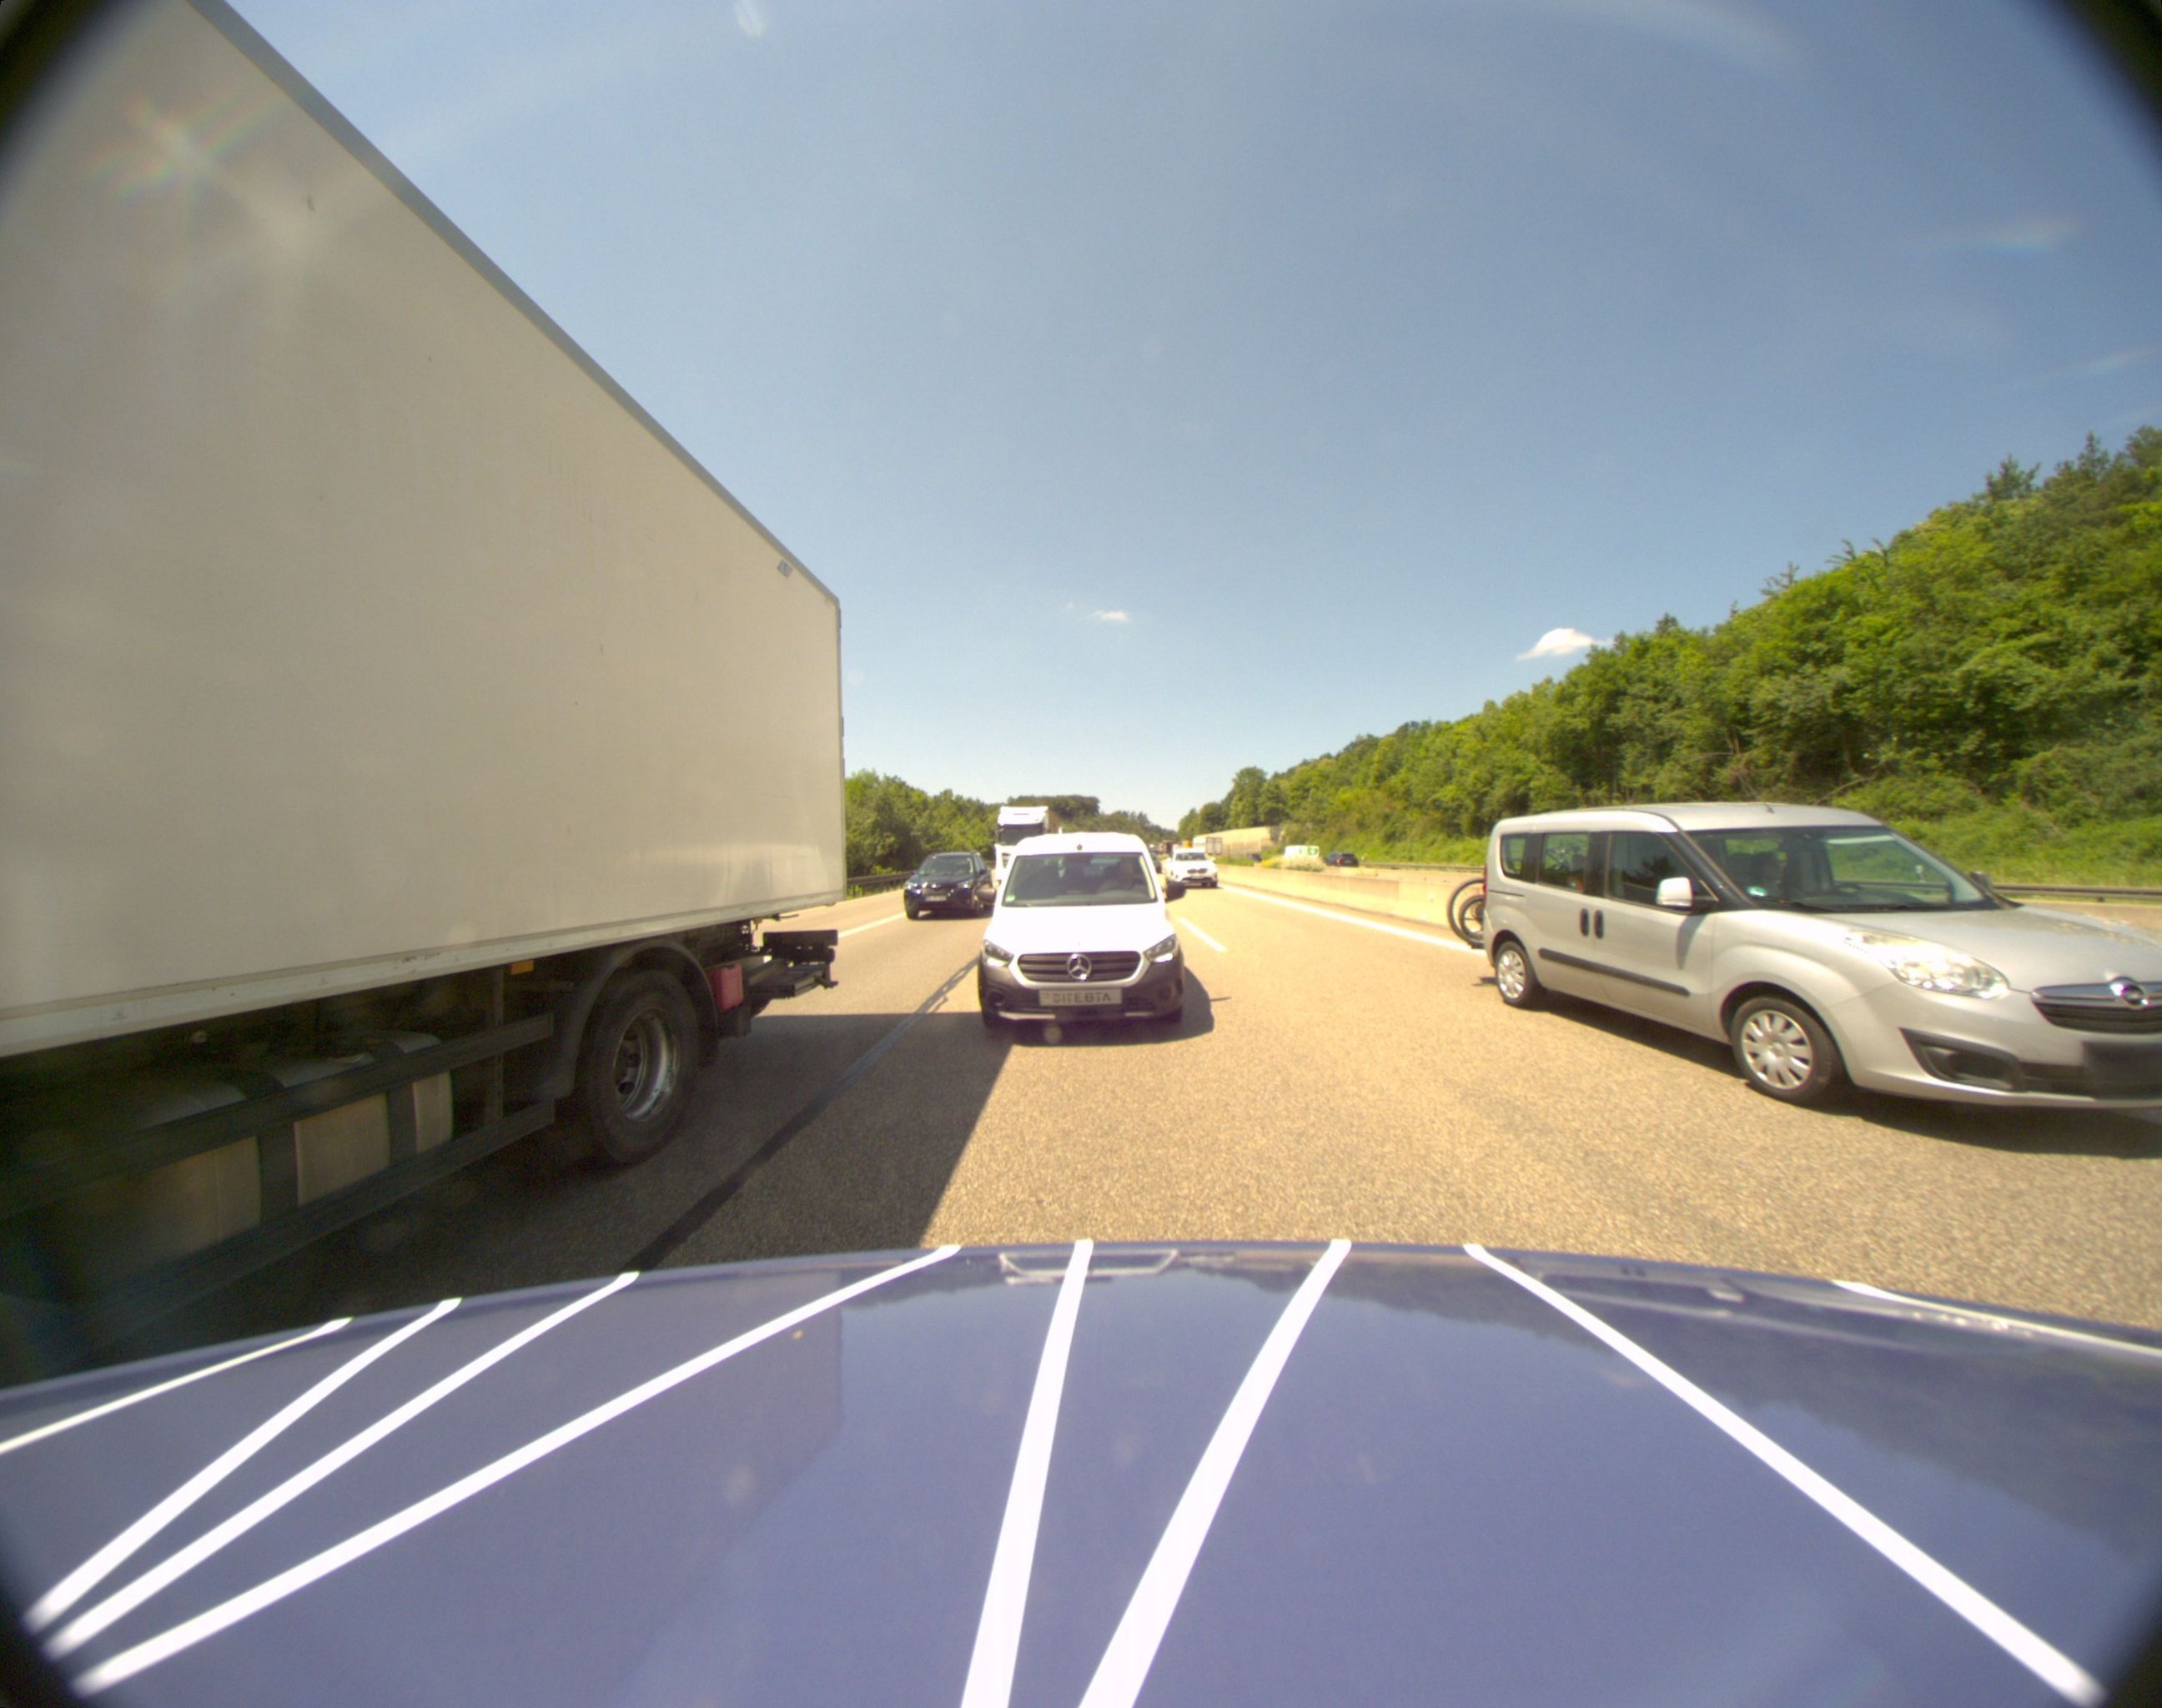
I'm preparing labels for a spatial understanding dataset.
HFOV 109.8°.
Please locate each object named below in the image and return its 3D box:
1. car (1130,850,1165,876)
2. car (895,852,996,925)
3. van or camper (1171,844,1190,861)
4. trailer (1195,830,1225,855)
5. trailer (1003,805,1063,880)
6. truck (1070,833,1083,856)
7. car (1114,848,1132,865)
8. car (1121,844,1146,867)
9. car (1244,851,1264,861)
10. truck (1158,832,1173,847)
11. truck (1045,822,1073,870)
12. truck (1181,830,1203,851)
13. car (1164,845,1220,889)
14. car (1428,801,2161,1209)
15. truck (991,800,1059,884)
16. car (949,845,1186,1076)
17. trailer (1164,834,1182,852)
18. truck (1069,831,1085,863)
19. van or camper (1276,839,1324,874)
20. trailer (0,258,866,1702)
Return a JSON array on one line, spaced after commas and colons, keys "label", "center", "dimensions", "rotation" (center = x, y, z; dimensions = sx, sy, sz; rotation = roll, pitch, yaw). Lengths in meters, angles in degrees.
[{"label": "car", "center": [4.841, 0.633, 55.952], "dimensions": [1.999, 1.747, 3.998], "rotation": [-2, 1, -2]}, {"label": "car", "center": [-3.523, 0.819, 20.621], "dimensions": [1.999, 1.682, 4.609], "rotation": [-1, 1, -2]}, {"label": "van or camper", "center": [17.596, -0.284, 134.978], "dimensions": [2.400, 2.860, 6.710], "rotation": [-2, 1, 0]}, {"label": "trailer", "center": [20.945, -1.908, 124.387], "dimensions": [3.004, 3.850, 11.398], "rotation": [-2, 1, 1]}, {"label": "trailer", "center": [-2.763, -0.758, 47.234], "dimensions": [2.766, 4.061, 11.615], "rotation": [0, 1, 1]}, {"label": "truck", "center": [-0.770, -1.776, 144.201], "dimensions": [2.187, 4.073, 10.869], "rotation": [-2, 0, 0]}, {"label": "car", "center": [5.343, 0.336, 96.781], "dimensions": [1.999, 2.002, 3.998], "rotation": [-1, 1, -1]}, {"label": "car", "center": [4.702, 0.097, 68.812], "dimensions": [1.998, 2.002, 4.000], "rotation": [-2, 1, 1]}, {"label": "car", "center": [23.908, 0.222, 105.249], "dimensions": [1.998, 1.326, 4.001], "rotation": [-1, 0, 3]}, {"label": "truck", "center": [27.300, -4.524, 245.660], "dimensions": [3.277, 4.518, 14.101], "rotation": [-2, 0, 1]}, {"label": "truck", "center": [-2.153, -0.717, 76.741], "dimensions": [2.394, 4.437, 10.869], "rotation": [-2, 0, 0]}, {"label": "truck", "center": [25.165, -3.096, 173.233], "dimensions": [3.099, 4.519, 14.097], "rotation": [-2, 1, 1]}, {"label": "car", "center": [4.749, 0.515, 32.985], "dimensions": [1.824, 1.696, 3.999], "rotation": [-2, 1, 1]}, {"label": "car", "center": [4.731, 0.602, 5.790], "dimensions": [1.857, 1.762, 4.916], "rotation": [-2, 1, -1]}, {"label": "truck", "center": [-2.881, -0.681, 41.208], "dimensions": [2.766, 4.061, 7.333], "rotation": [-2, 1, 2]}, {"label": "car", "center": [-0.059, 0.799, 8.006], "dimensions": [1.756, 1.681, 4.363], "rotation": [-2, 1, 1]}, {"label": "trailer", "center": [23.341, -2.829, 192.855], "dimensions": [3.443, 4.171, 7.895], "rotation": [-2, 1, 1]}, {"label": "truck", "center": [-0.539, -0.978, 112.666], "dimensions": [2.187, 4.437, 10.869], "rotation": [-2, 0, 0]}, {"label": "van or camper", "center": [16.245, 0.145, 56.504], "dimensions": [1.999, 2.372, 4.806], "rotation": [-4, 1, -1]}, {"label": "trailer", "center": [-3.424, 0.255, 3.302], "dimensions": [2.562, 2.882, 7.881], "rotation": [-2, 0, 1]}]
